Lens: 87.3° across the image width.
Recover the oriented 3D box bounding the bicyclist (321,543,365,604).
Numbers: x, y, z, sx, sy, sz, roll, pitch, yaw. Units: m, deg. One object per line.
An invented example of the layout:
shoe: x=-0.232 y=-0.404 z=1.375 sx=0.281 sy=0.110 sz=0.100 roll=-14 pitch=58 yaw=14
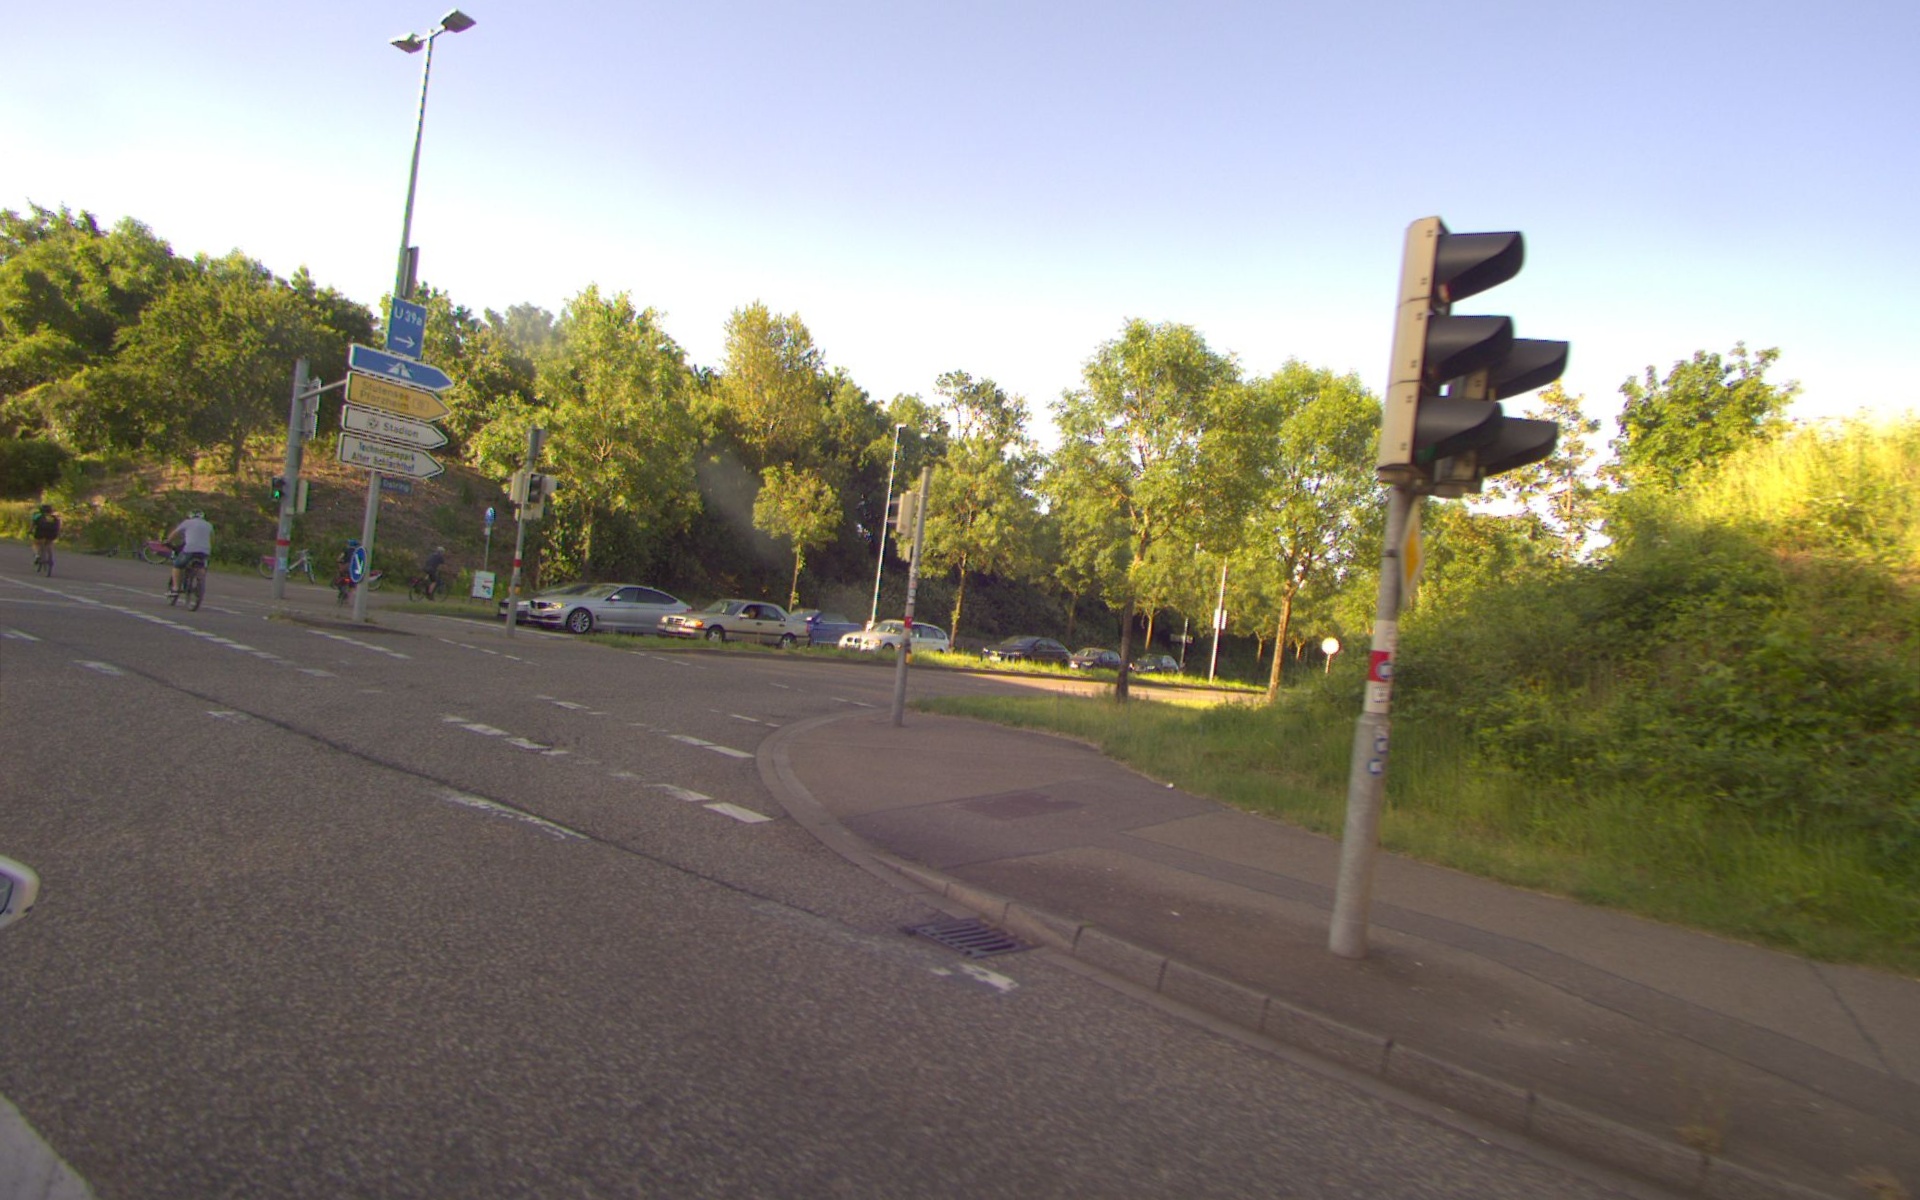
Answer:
bicyclist: x=-16.253 y=-0.703 z=26.496 sx=0.741 sy=1.491 sz=0.664 roll=4 pitch=-3 yaw=43

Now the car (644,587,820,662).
car: x=-6.171 y=0.717 z=27.727 sx=1.801 sy=1.530 sz=4.551 roll=4 pitch=-4 yaw=37

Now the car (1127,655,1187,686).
car: x=12.544 y=4.516 z=63.807 sx=1.801 sy=1.530 sz=4.551 roll=4 pitch=-4 yaw=37

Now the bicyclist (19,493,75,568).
bicyclist: x=-21.248 y=-1.614 z=23.404 sx=0.927 sy=1.632 sz=0.592 roll=5 pitch=-2 yaw=33

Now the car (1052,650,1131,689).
car: x=6.656 y=3.514 z=50.473 sx=1.801 sy=1.530 sz=4.551 roll=4 pitch=-4 yaw=37

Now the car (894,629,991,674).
car: x=-0.708 y=2.331 z=44.709 sx=1.801 sy=1.530 sz=4.551 roll=4 pitch=-4 yaw=37

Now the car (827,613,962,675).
car: x=-2.061 y=1.497 z=33.014 sx=1.801 sy=1.530 sz=4.551 roll=4 pitch=-4 yaw=37

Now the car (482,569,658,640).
car: x=-11.534 y=0.177 z=30.053 sx=1.801 sy=1.530 sz=4.551 roll=4 pitch=-4 yaw=37

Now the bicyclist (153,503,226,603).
bicyclist: x=-12.889 y=-0.793 z=16.827 sx=0.757 sy=1.566 sz=0.593 roll=5 pitch=-2 yaw=33

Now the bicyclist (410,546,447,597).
bicyclist: x=-16.909 y=-0.911 z=32.022 sx=0.639 sy=1.498 sz=0.619 roll=7 pitch=-1 yaw=5

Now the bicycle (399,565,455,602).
bicycle: x=-16.957 y=-0.514 z=32.052 sx=0.656 sy=1.036 sz=1.751 roll=4 pitch=-1 yaw=6

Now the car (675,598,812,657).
car: x=-7.544 y=1.007 z=35.474 sx=1.801 sy=1.530 sz=4.551 roll=4 pitch=-4 yaw=37

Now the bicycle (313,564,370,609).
bicycle: x=-16.310 y=-0.354 z=26.510 sx=2.028 sy=1.035 sz=0.670 roll=4 pitch=-3 yaw=43

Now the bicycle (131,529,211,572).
bicycle: x=-24.082 y=-1.503 z=30.727 sx=0.585 sy=1.035 sz=1.745 roll=4 pitch=-3 yaw=39

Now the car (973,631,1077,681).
car: x=2.634 y=2.254 z=39.966 sx=1.801 sy=1.530 sz=4.551 roll=4 pitch=-4 yaw=37

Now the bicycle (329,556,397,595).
bicycle: x=-19.697 y=-0.794 z=33.216 sx=0.586 sy=1.035 sz=1.742 roll=4 pitch=-4 yaw=44

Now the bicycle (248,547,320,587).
bicycle: x=-21.628 y=-1.037 z=32.201 sx=0.585 sy=1.035 sz=1.745 roll=4 pitch=-3 yaw=39

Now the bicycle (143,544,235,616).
bicycle: x=-12.916 y=-0.342 z=16.834 sx=1.722 sy=1.035 sz=0.593 roll=5 pitch=-3 yaw=33

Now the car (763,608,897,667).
car: x=-4.405 y=1.323 z=34.680 sx=1.801 sy=1.530 sz=4.551 roll=4 pitch=-4 yaw=37

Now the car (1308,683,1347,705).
car: x=31.778 y=8.130 z=87.002 sx=1.801 sy=1.530 sz=4.551 roll=4 pitch=-4 yaw=37

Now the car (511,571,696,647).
car: x=-9.863 y=0.304 z=28.150 sx=1.801 sy=1.530 sz=4.551 roll=4 pitch=-4 yaw=37

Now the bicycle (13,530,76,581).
bicycle: x=-21.304 y=-1.045 z=23.401 sx=1.722 sy=1.035 sz=0.593 roll=5 pitch=-3 yaw=33
